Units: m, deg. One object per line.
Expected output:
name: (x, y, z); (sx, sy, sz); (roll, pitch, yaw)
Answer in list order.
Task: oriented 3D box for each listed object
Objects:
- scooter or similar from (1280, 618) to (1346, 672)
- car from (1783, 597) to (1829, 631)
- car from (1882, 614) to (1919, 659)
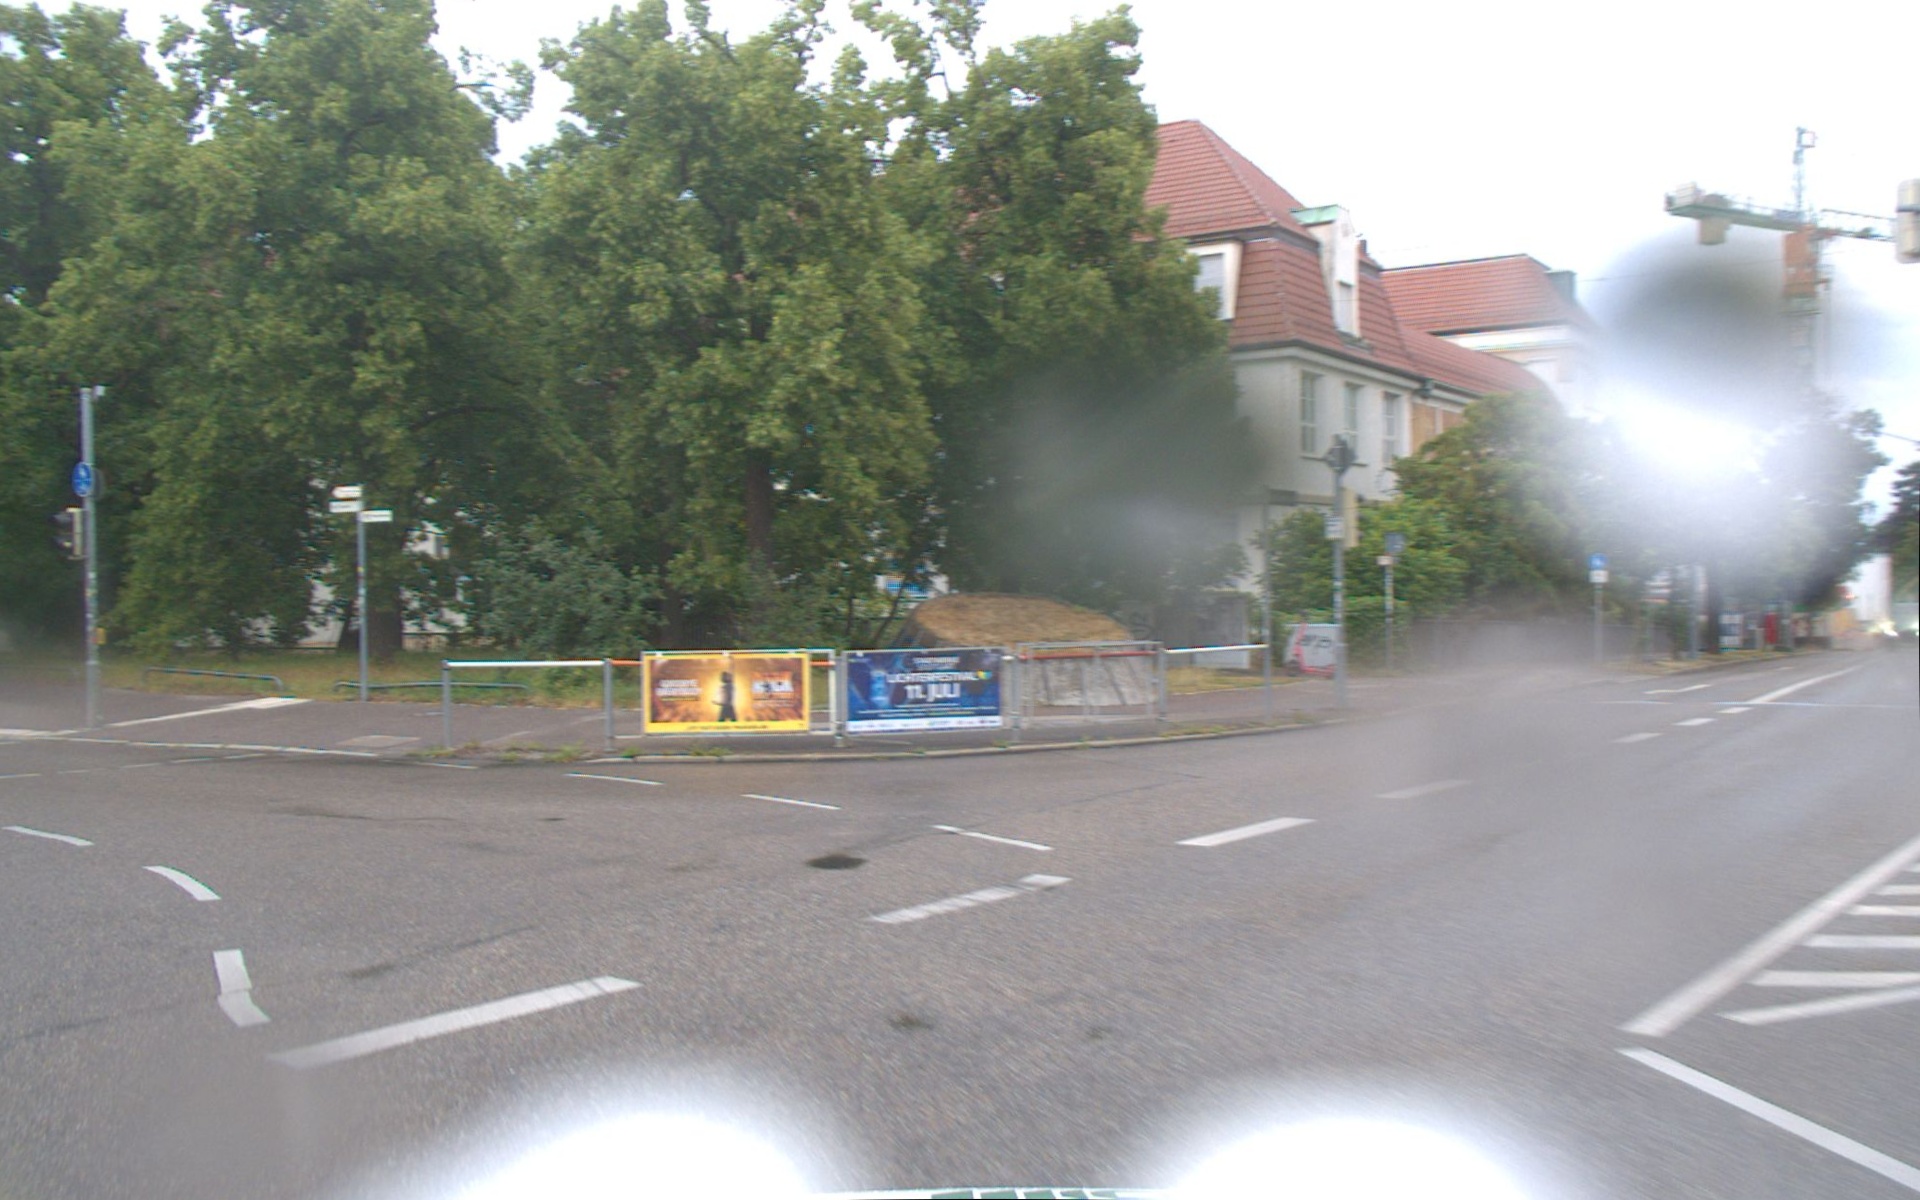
scooter or similar: (6.537, 0.825, 30.612); (1.070, 0.971, 0.535); (1, 0, -20)
car: (52.568, 0.843, 102.723); (1.960, 2.049, 3.984); (0, 1, 36)
car: (50.583, 1.938, 88.393); (1.804, 2.250, 3.984); (0, 1, 36)
